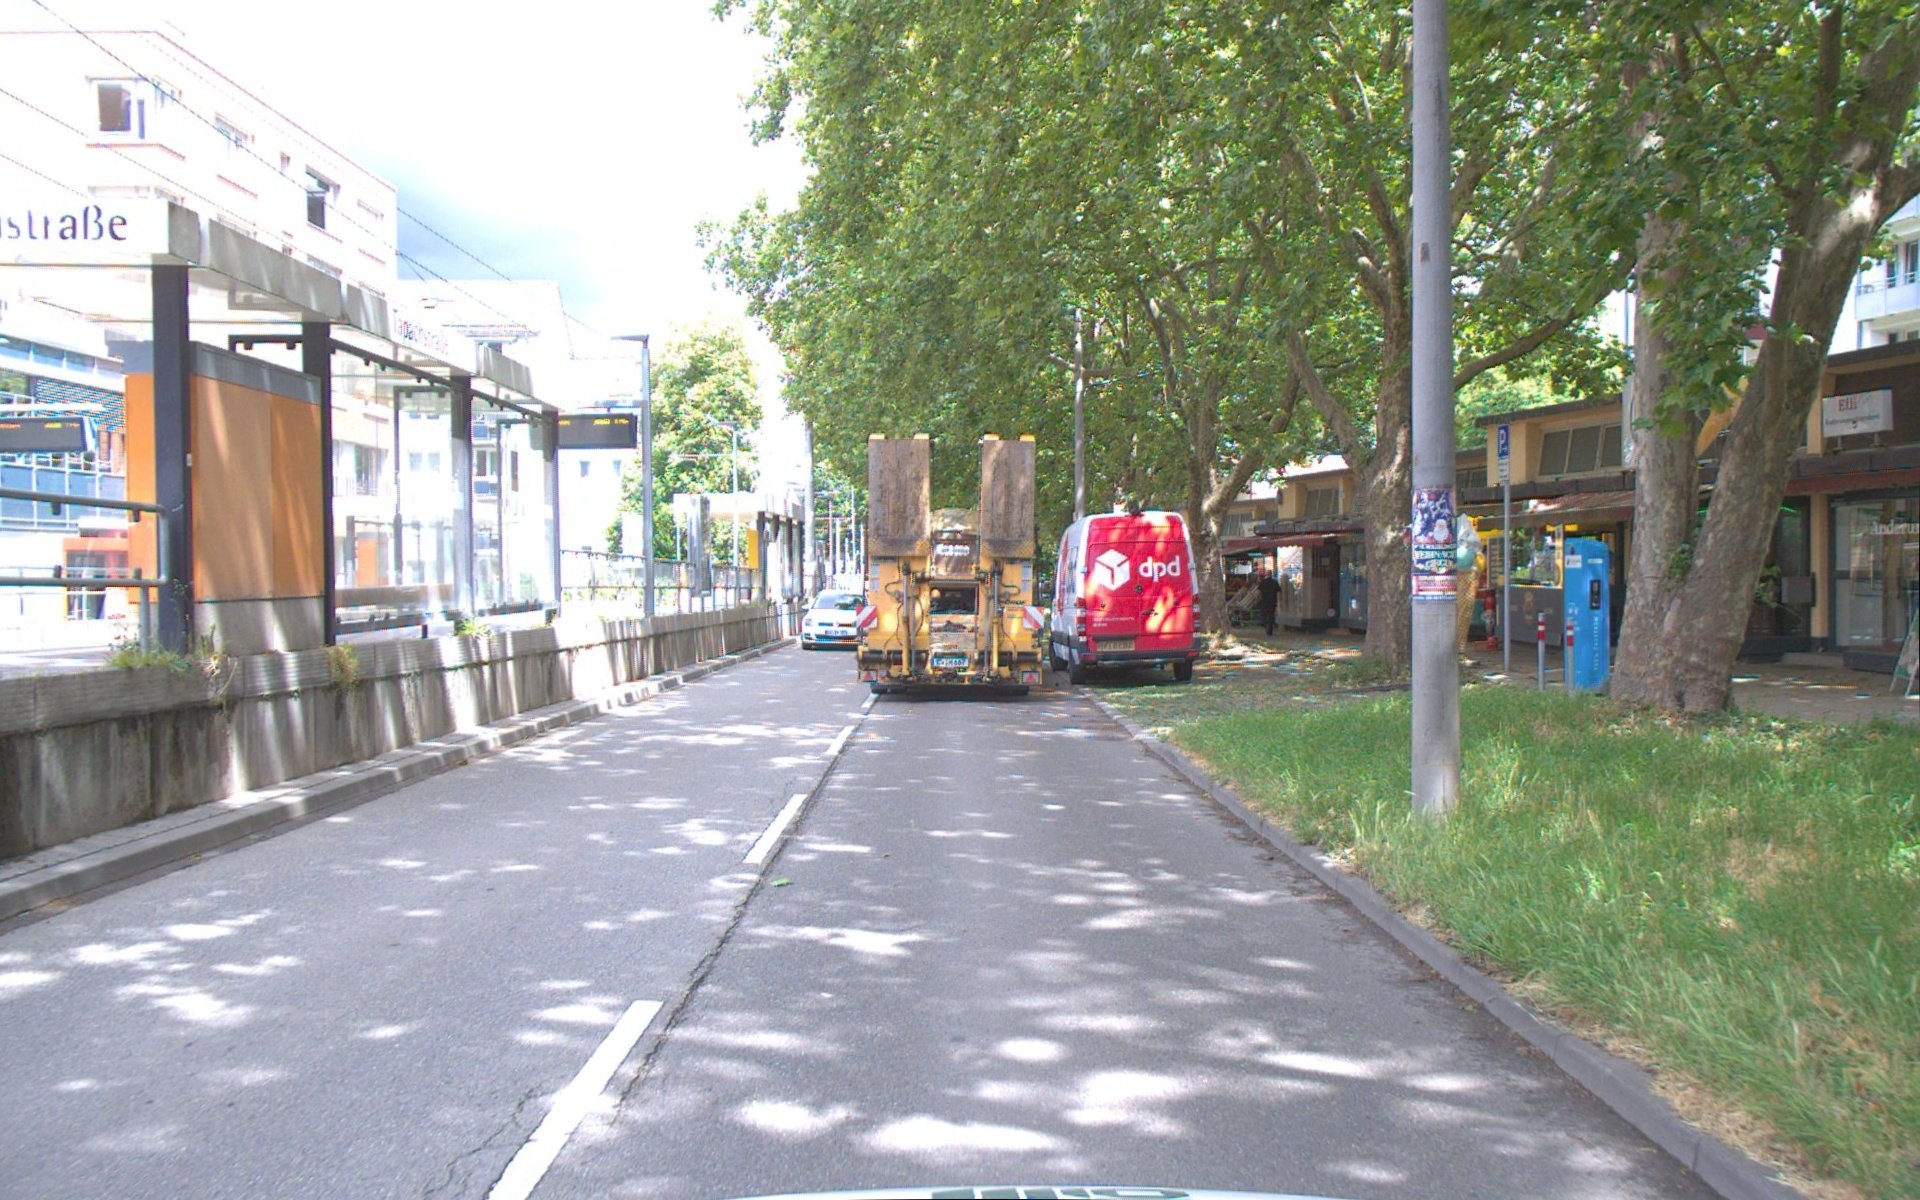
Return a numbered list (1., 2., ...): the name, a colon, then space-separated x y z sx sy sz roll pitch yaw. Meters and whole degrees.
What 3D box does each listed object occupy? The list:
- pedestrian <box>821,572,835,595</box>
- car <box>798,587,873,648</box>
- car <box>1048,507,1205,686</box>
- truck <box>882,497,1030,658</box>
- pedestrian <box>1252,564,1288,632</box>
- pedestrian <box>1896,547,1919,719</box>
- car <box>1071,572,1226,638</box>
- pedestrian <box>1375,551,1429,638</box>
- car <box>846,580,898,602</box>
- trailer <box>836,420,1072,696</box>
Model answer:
1. pedestrian: -10.832 -1.352 135.999 0.876 1.900 0.829 0 0 -29
2. car: -3.049 0.409 41.097 1.697 1.420 3.750 1 0 -2
3. car: 2.683 -0.076 28.302 1.866 2.626 6.833 -2 0 0
4. truck: -0.045 -0.475 36.920 2.928 3.190 7.888 1 0 0
5. pedestrian: 8.183 -0.046 43.686 0.744 1.755 0.658 -2 0 -5
6. pedestrian: 8.498 0.279 13.946 0.612 1.473 1.028 -1 0 -1
7. car: 4.961 0.124 43.761 3.757 1.589 1.617 -2 0 -7
8. pedestrian: 9.543 -0.112 35.731 0.910 1.832 0.602 -2 -1 44
9. car: -8.900 -0.905 166.820 5.004 2.139 1.969 0 0 -15
10. trailer: -0.048 -0.593 27.427 3.089 3.614 11.097 1 0 0
